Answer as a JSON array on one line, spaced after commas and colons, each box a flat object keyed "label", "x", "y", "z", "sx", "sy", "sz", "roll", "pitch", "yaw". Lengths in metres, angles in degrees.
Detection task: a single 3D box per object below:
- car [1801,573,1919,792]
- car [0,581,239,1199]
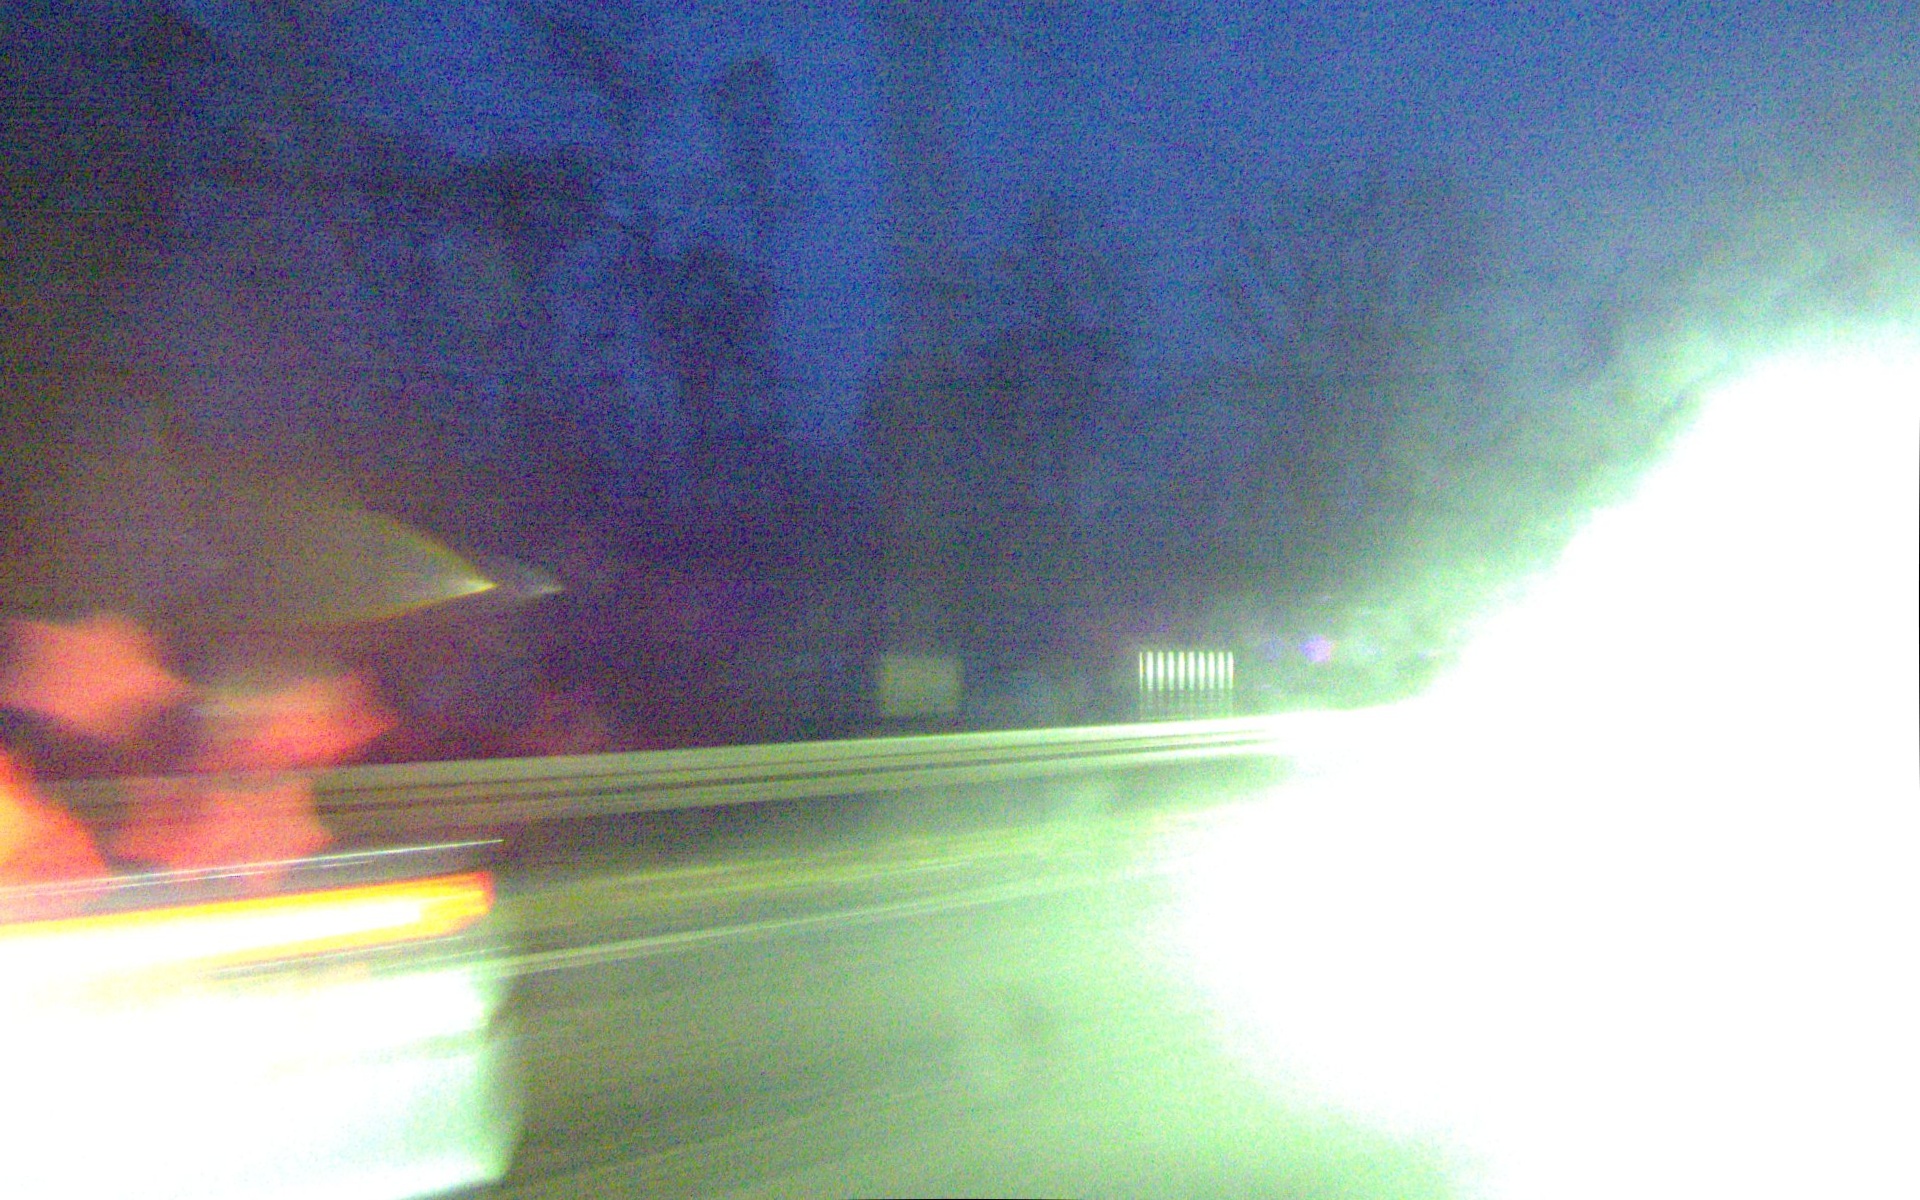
[{"label": "car", "x": 11.049, "y": 0.843, "z": 10.663, "sx": 4.296, "sy": 2.095, "sz": 1.983, "roll": 2, "pitch": -1, "yaw": -31}, {"label": "car", "x": -3.308, "y": 0.687, "z": 1.070, "sx": 3.948, "sy": 1.508, "sz": 1.841, "roll": 2, "pitch": 0, "yaw": -32}]
